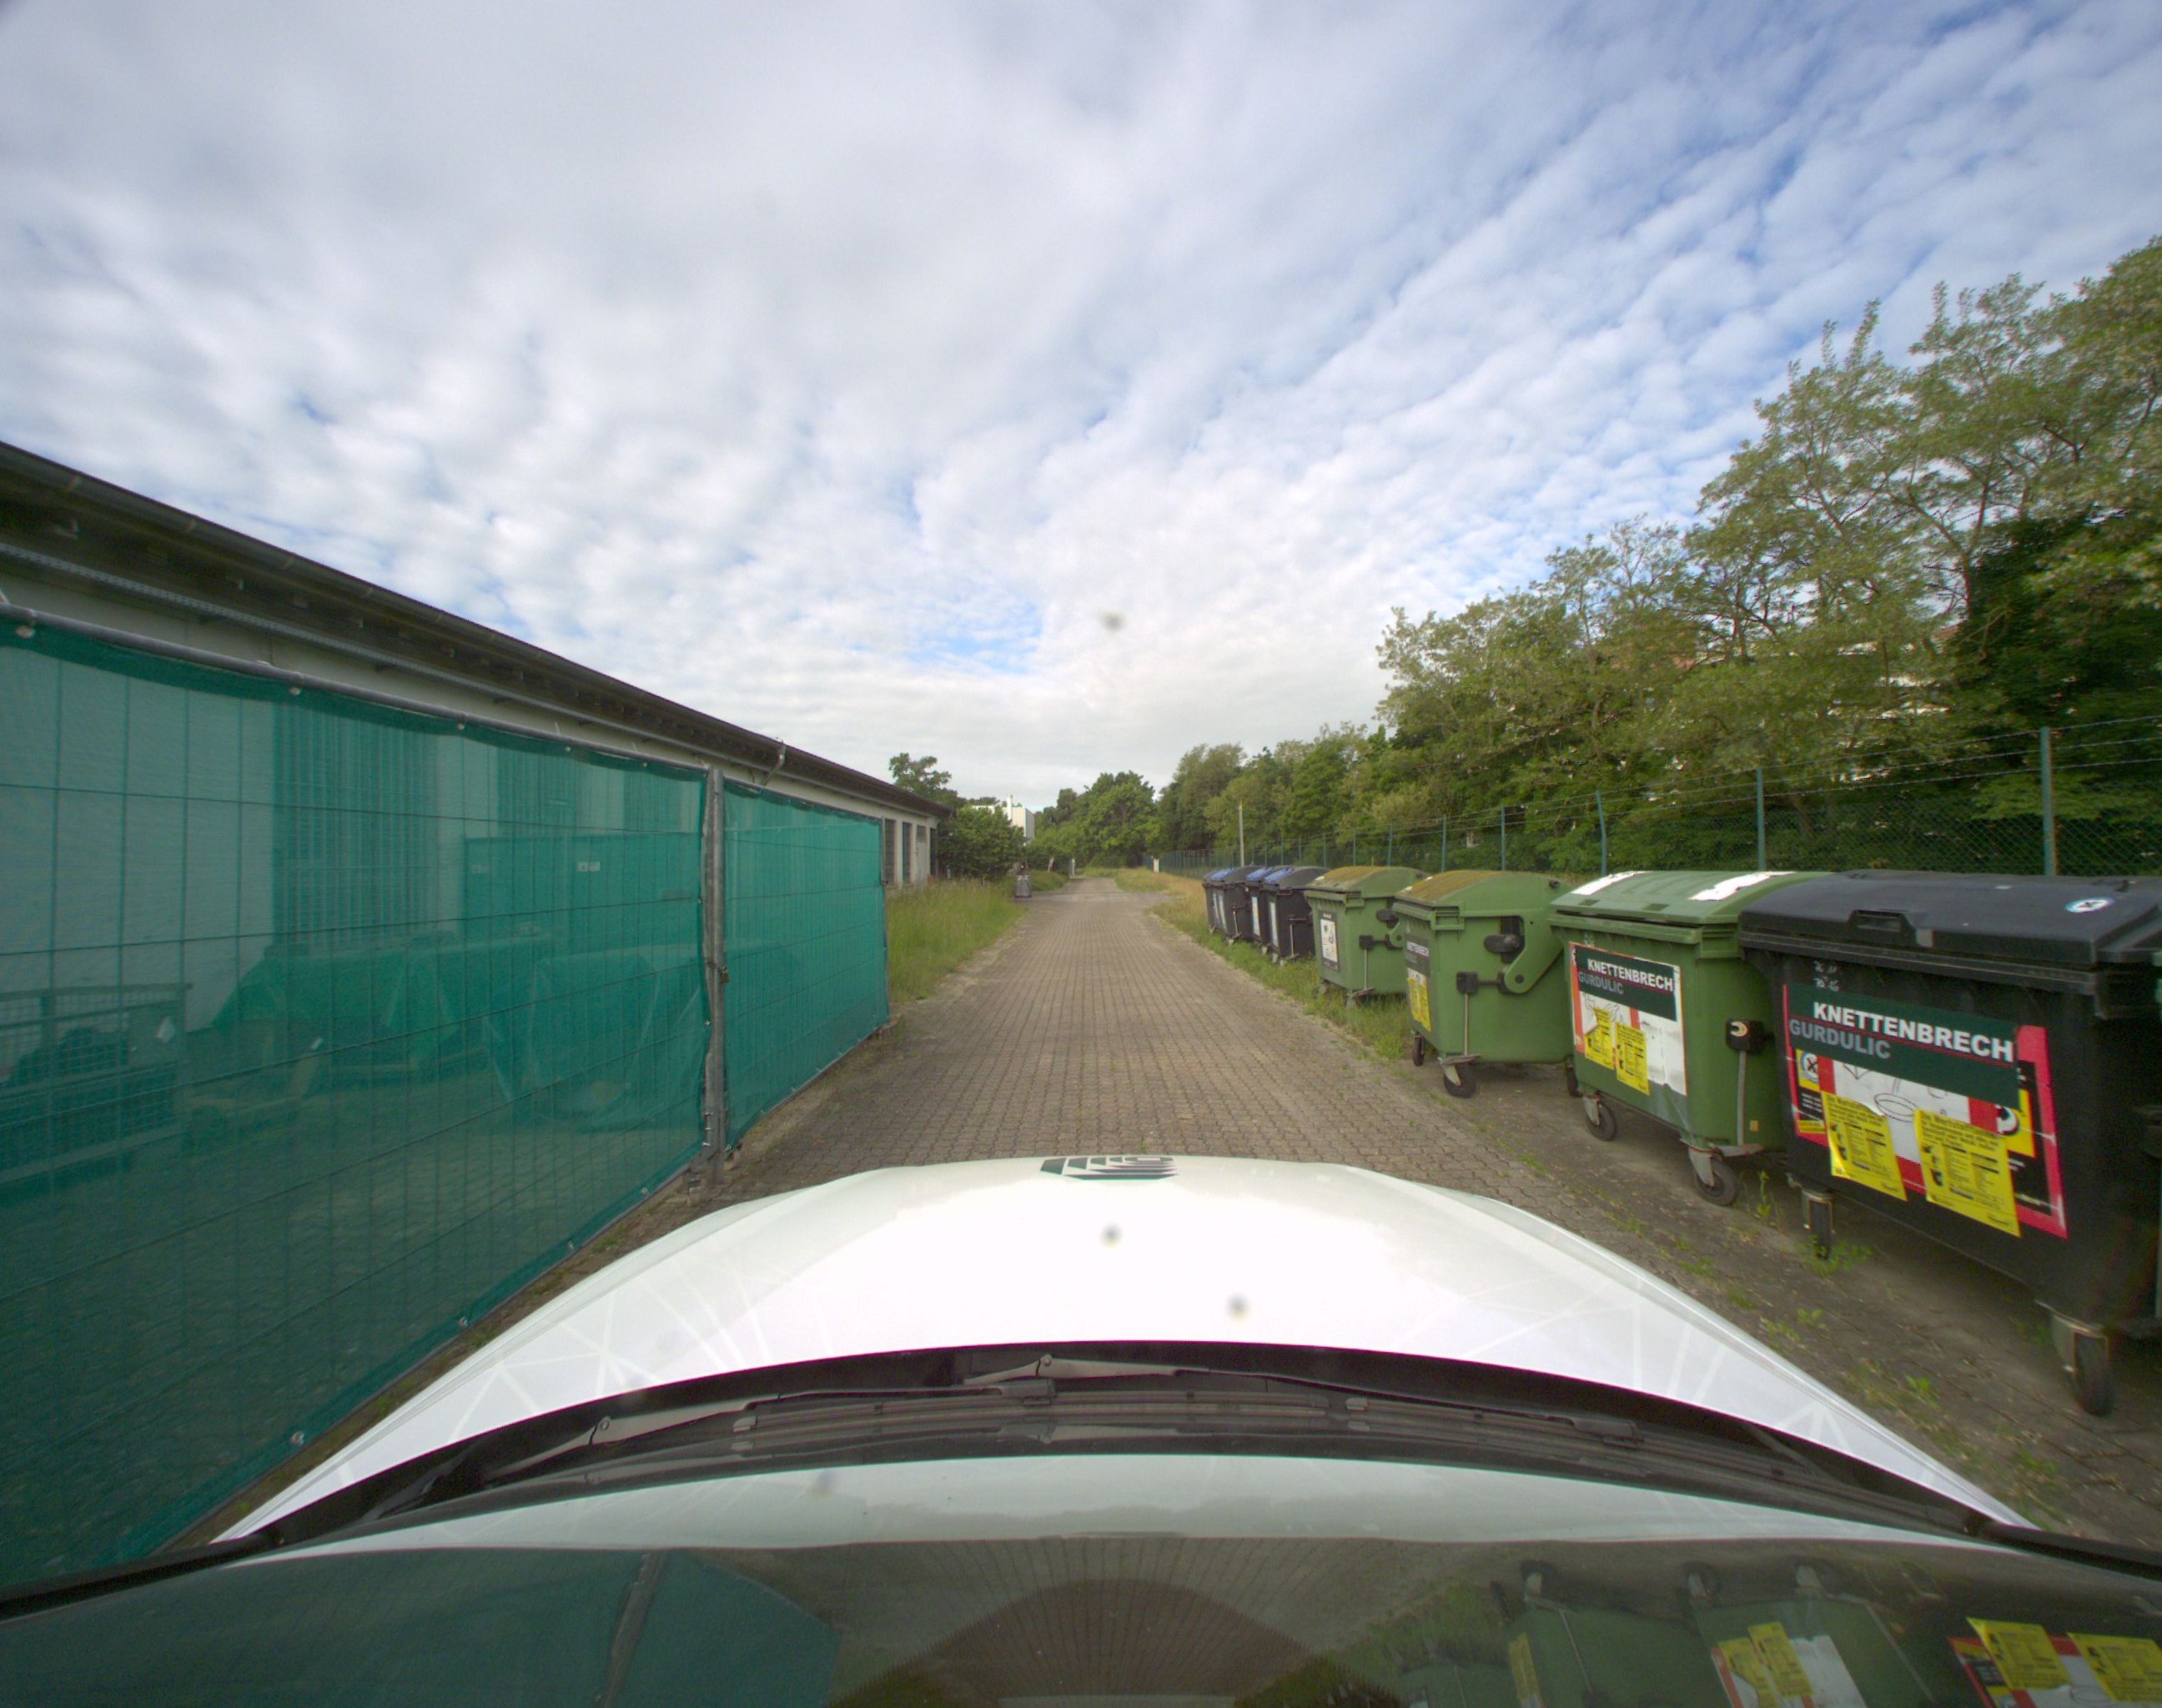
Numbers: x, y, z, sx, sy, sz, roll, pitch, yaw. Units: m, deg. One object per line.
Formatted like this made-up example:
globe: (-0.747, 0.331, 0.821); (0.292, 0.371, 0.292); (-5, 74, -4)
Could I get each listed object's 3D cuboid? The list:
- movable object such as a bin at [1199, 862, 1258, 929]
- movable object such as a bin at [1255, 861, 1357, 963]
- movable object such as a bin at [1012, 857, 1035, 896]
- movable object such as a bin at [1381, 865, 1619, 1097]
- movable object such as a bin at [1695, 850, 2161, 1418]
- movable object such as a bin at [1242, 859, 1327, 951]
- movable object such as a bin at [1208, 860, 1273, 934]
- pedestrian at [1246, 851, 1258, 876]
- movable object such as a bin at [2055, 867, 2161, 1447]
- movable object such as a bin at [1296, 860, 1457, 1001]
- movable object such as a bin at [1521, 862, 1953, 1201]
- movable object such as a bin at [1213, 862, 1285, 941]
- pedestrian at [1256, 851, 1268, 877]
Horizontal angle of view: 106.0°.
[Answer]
movable object such as a bin: (3.108, 0.859, 17.294); (1.117, 1.350, 1.428); (-1, -1, 6)
movable object such as a bin: (3.124, 0.783, 11.497); (1.148, 1.325, 1.496); (-1, -1, 6)
movable object such as a bin: (-2.981, 1.136, 42.293); (0.929, 1.982, 0.855); (-2, -1, 9)
movable object such as a bin: (2.812, 0.786, 5.697); (1.115, 1.398, 1.389); (-1, -1, 11)
movable object such as a bin: (3.137, 0.717, 2.759); (1.065, 1.435, 1.399); (-1, -1, 3)
movable object such as a bin: (3.225, 0.791, 13.078); (1.117, 1.374, 1.496); (-1, -1, 6)
movable object such as a bin: (3.073, 0.822, 15.884); (1.117, 1.379, 1.327); (-1, -1, 6)
pedestrian: (13.616, 0.761, 64.842); (0.757, 2.014, 0.664); (-2, -1, -1)
movable object such as a bin: (3.075, 0.714, 1.421); (1.121, 1.395, 1.360); (-1, -1, 9)
movable object such as a bin: (2.936, 0.723, 8.293); (1.119, 1.296, 1.379); (-1, -1, 0)
movable object such as a bin: (3.117, 0.758, 4.110); (1.065, 1.406, 1.386); (-1, -1, 3)
movable object such as a bin: (2.973, 0.815, 14.583); (1.117, 1.321, 1.327); (-2, -1, 6)
pedestrian: (14.389, 0.771, 64.674); (0.757, 2.014, 0.664); (-2, -1, -1)
